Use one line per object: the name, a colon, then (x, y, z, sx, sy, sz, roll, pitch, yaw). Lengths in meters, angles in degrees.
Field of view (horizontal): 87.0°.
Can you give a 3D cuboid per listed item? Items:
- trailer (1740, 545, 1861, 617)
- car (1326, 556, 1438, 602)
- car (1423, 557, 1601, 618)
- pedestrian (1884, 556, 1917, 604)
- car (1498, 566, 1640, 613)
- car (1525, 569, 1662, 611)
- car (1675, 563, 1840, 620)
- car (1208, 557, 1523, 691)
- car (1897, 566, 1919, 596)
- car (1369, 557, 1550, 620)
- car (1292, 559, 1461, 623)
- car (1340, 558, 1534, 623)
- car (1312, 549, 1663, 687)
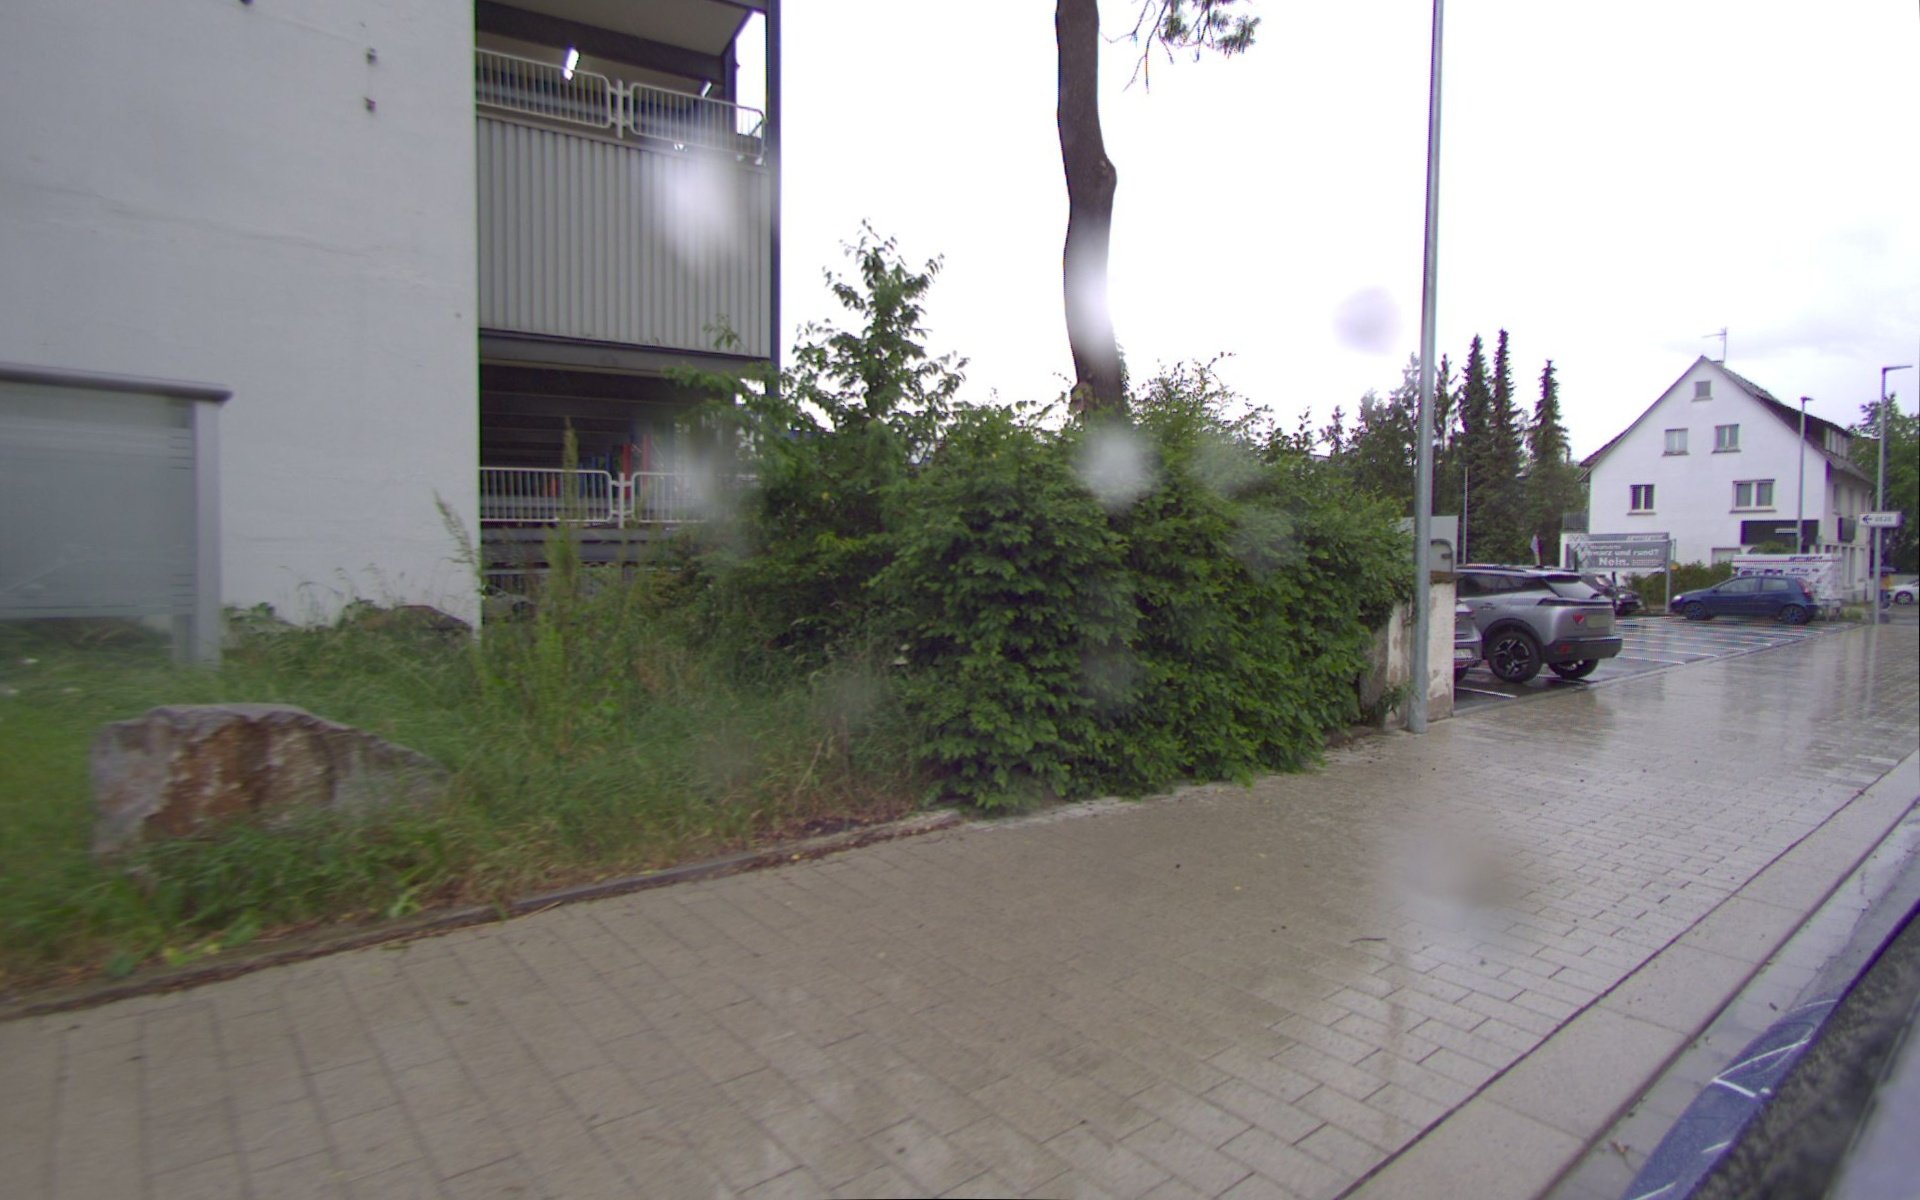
trailer: (26.890, -0.645, 32.432, 1.520, 2.198, 2.709, -1, 2, -38)
car: (18.683, -0.979, 44.996, 1.854, 1.851, 4.500, 0, 3, -24)
car: (16.540, -0.429, 30.494, 1.813, 1.672, 4.362, -1, 3, -42)
pedestrian: (40.886, -0.873, 44.005, 1.175, 2.038, 0.860, -1, 4, -42)
car: (20.284, -0.390, 33.799, 1.702, 1.467, 3.730, -1, 3, -43)
car: (22.057, -0.388, 35.329, 1.664, 1.331, 3.730, -1, 3, -43)
car: (24.640, -0.313, 31.381, 1.621, 1.547, 3.735, -2, 4, -40)
car: (5.343, 0.208, 13.769, 1.770, 1.512, 3.638, -1, 3, -31)
car: (52.824, -0.932, 53.787, 4.119, 1.599, 1.974, 4, 3, 36)
car: (14.359, -0.390, 29.303, 1.754, 1.679, 4.366, -1, 3, -39)
car: (10.607, -0.269, 25.958, 1.613, 1.519, 3.695, -1, 2, -39)
car: (12.770, -0.328, 27.305, 1.808, 1.578, 4.363, -1, 3, -41)
car: (7.674, 0.130, 15.166, 1.960, 1.669, 4.228, -1, 4, -30)
